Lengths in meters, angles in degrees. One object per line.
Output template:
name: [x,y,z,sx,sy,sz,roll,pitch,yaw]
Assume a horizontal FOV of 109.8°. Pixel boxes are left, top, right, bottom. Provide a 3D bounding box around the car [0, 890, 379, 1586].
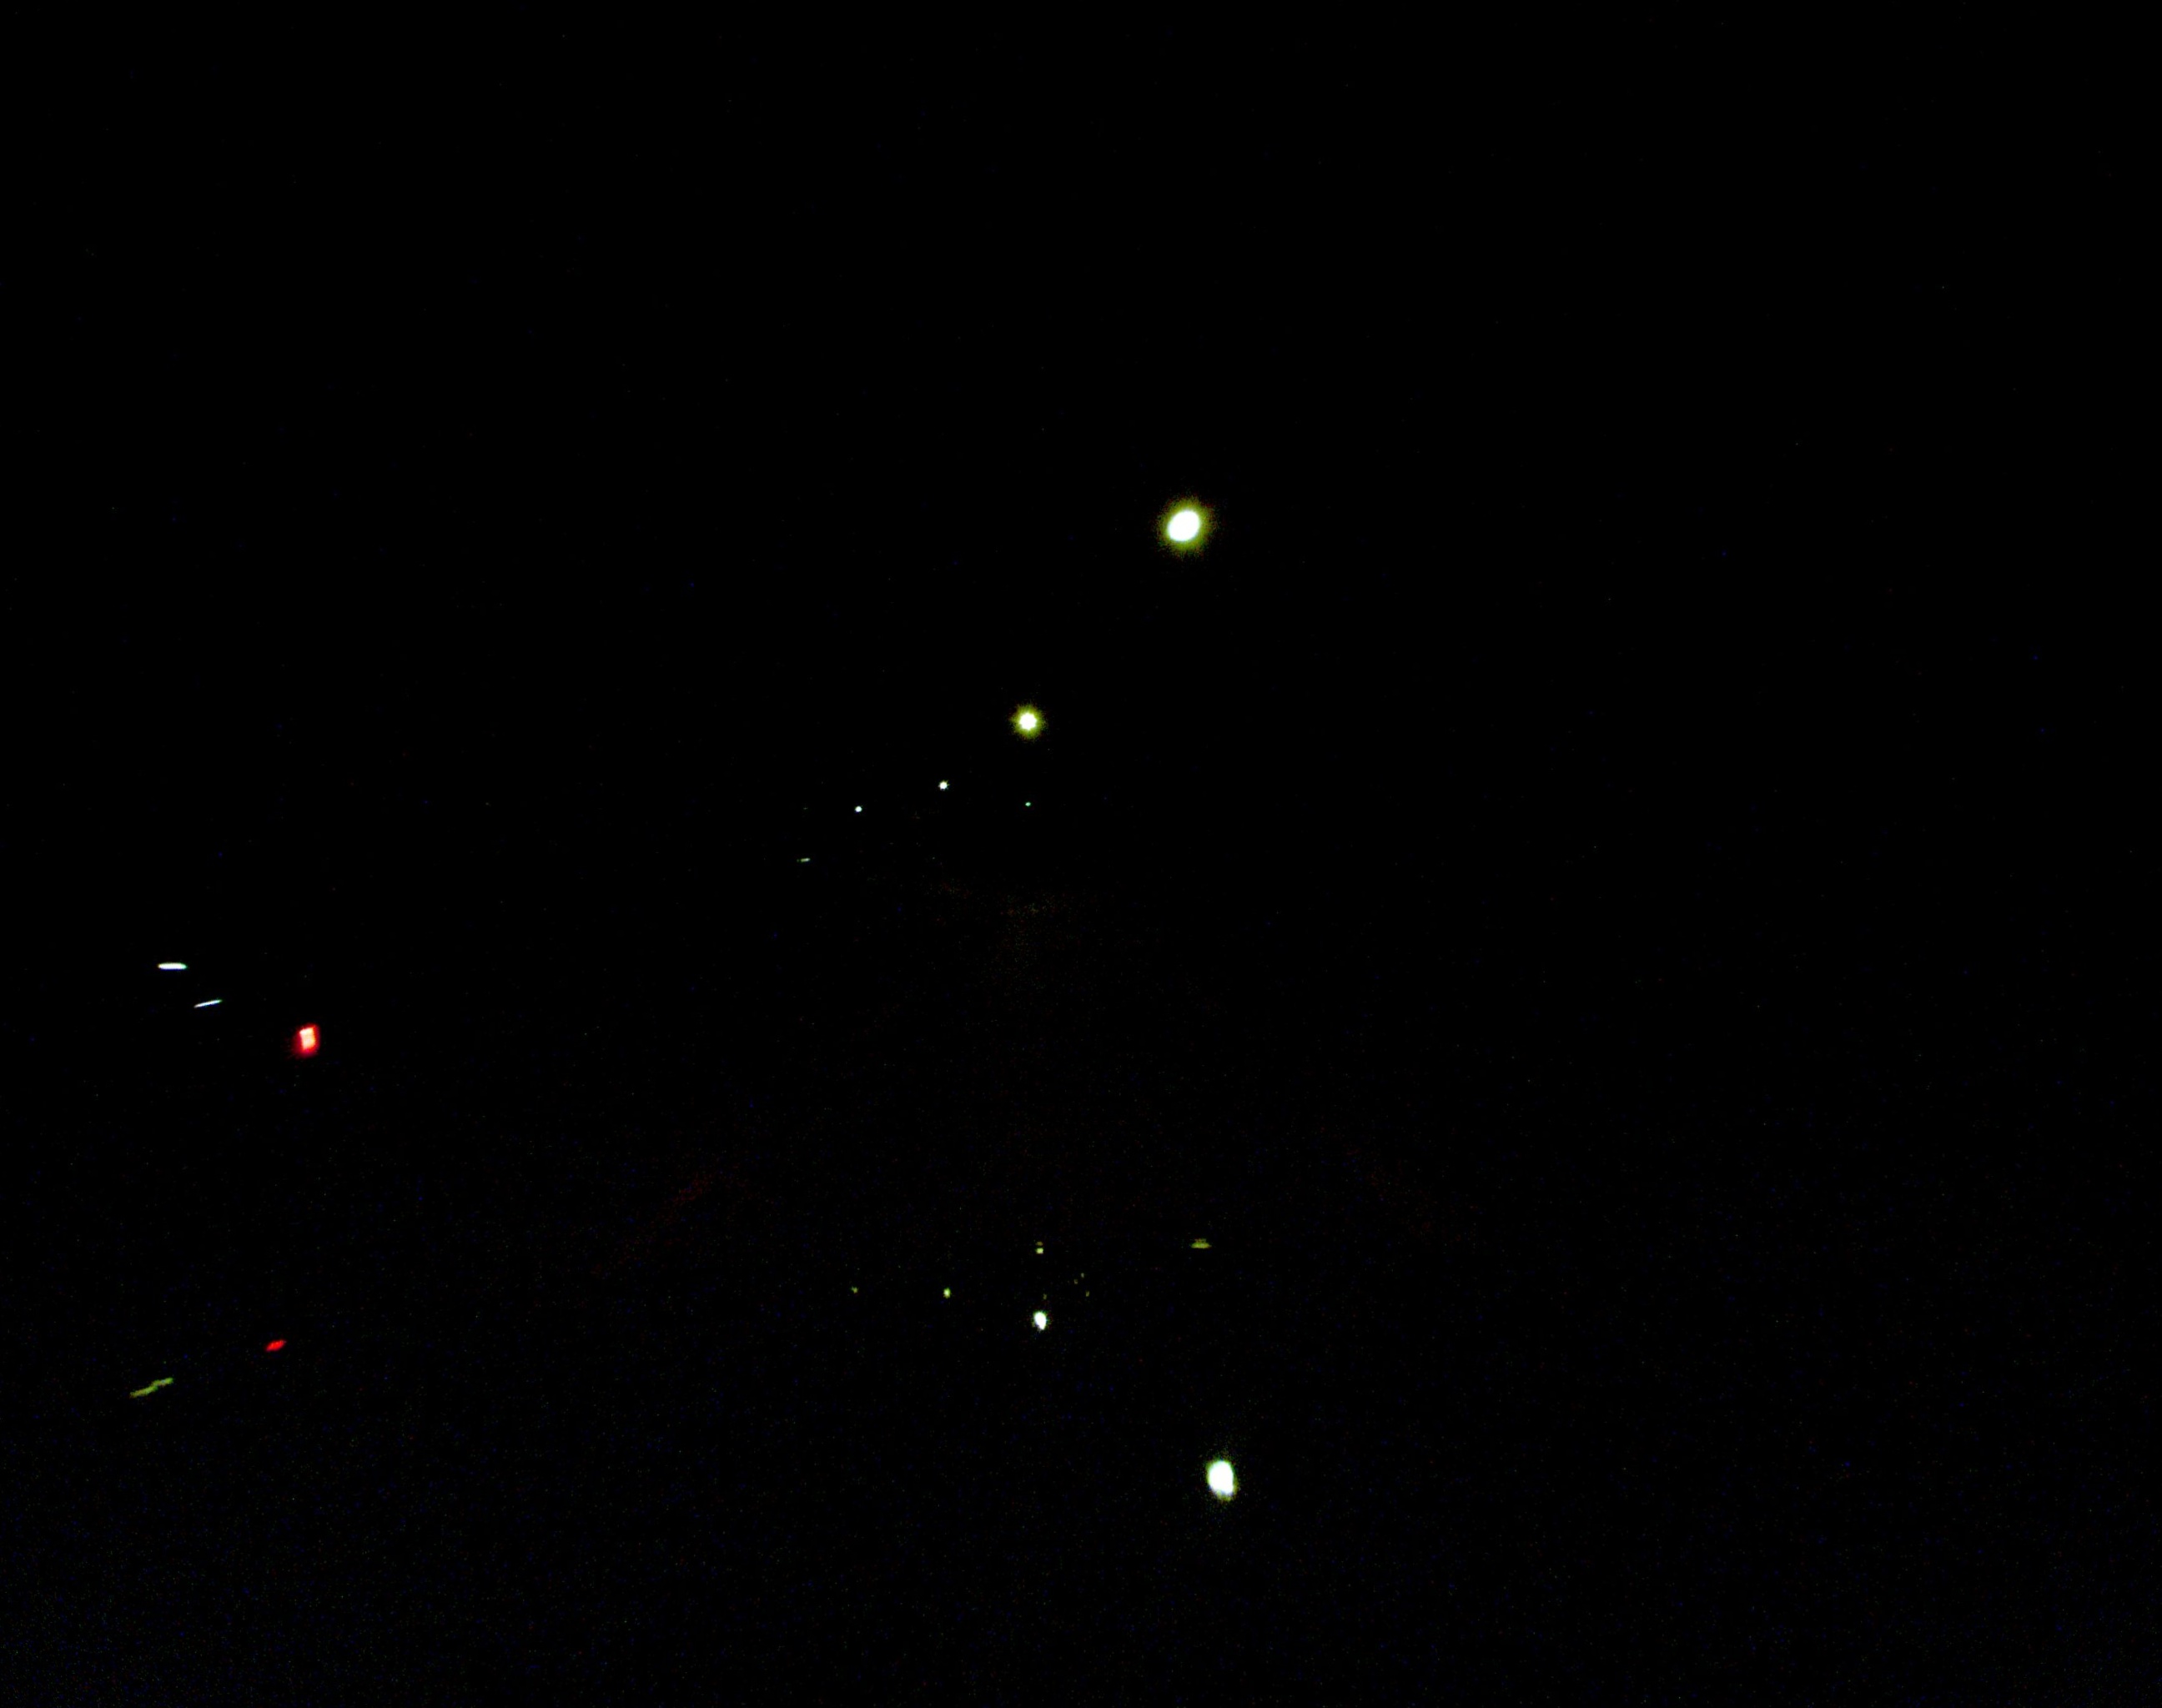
car: [-3.400,0.978,0.653,1.674,1.601,4.228,-2,1,-2]
